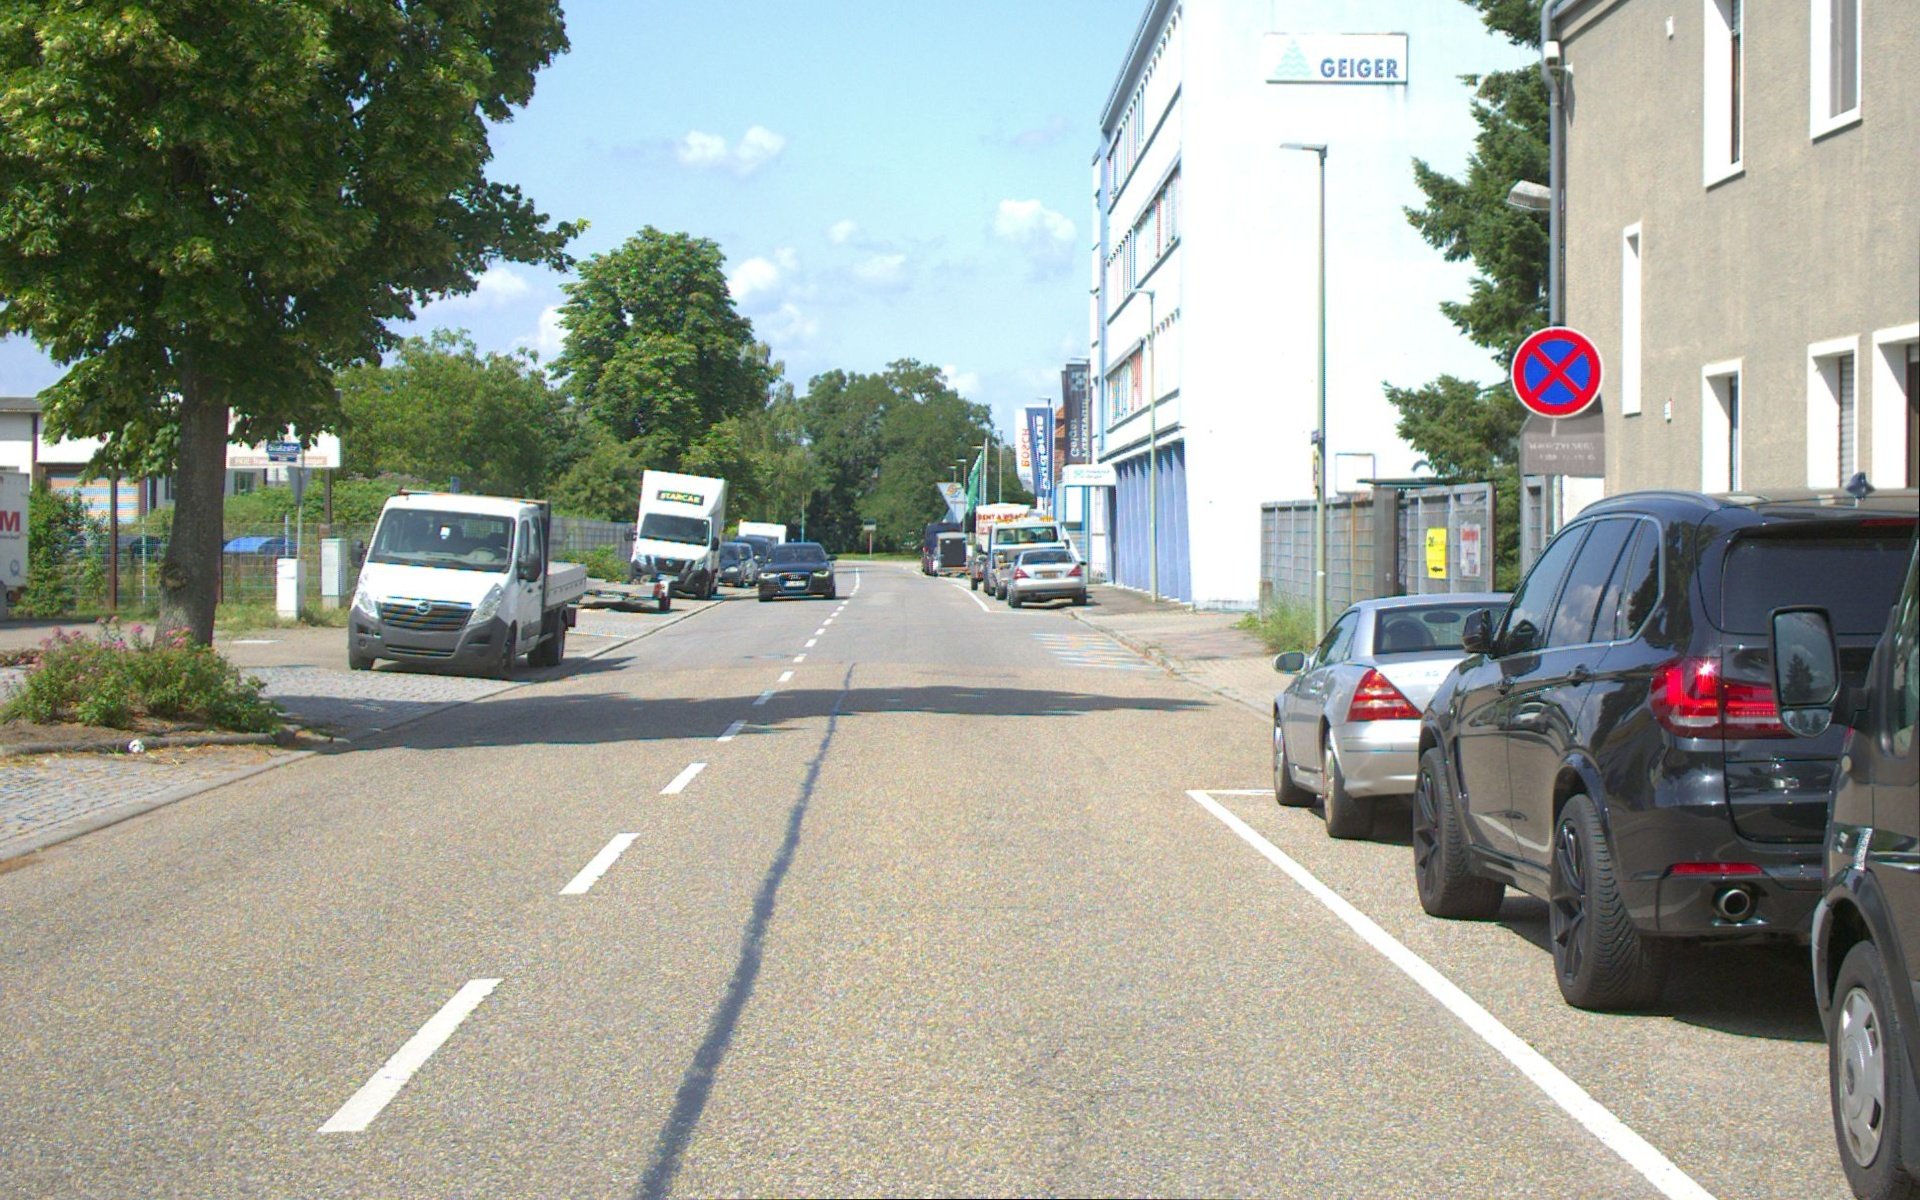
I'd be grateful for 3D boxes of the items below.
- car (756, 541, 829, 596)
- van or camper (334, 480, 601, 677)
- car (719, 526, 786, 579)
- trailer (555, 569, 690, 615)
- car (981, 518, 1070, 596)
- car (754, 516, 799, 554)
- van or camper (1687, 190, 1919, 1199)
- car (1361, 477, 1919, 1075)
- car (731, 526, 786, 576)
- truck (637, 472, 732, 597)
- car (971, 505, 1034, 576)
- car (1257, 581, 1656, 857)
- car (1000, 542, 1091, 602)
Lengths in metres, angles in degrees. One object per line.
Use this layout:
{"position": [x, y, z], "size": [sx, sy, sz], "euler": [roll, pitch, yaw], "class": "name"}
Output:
{"position": [-4.180, -0.810, 86.354], "size": [1.654, 1.320, 4.417], "euler": [0, 1, -1], "class": "car"}
{"position": [-6.421, -0.347, 45.867], "size": [2.174, 2.405, 7.697], "euler": [0, 1, 2], "class": "van or camper"}
{"position": [-6.786, -1.569, 112.765], "size": [1.993, 1.678, 4.000], "euler": [0, 1, -1], "class": "car"}
{"position": [-7.332, -0.199, 75.292], "size": [2.417, 0.811, 5.537], "euler": [2, 1, 0], "class": "trailer"}
{"position": [1.729, -1.177, 92.085], "size": [2.216, 2.007, 5.485], "euler": [0, 1, -1], "class": "car"}
{"position": [-8.984, -3.195, 168.618], "size": [1.993, 1.809, 4.000], "euler": [0, 1, -1], "class": "car"}
{"position": [3.000, 0.321, 6.407], "size": [1.993, 2.283, 5.448], "euler": [2, 1, -1], "class": "van or camper"}
{"position": [2.879, 0.496, 12.818], "size": [1.960, 1.774, 4.955], "euler": [1, 1, -2], "class": "car"}
{"position": [-6.861, -1.687, 117.250], "size": [1.713, 1.645, 4.000], "euler": [0, 1, -1], "class": "car"}
{"position": [-7.183, -1.731, 90.096], "size": [2.029, 3.143, 6.500], "euler": [0, 1, -1], "class": "truck"}
{"position": [1.246, -1.791, 102.497], "size": [1.707, 2.082, 4.000], "euler": [0, 1, -1], "class": "car"}
{"position": [2.699, 0.597, 19.472], "size": [1.629, 1.349, 3.924], "euler": [0, 1, -1], "class": "car"}
{"position": [1.919, -0.654, 78.220], "size": [1.928, 1.306, 4.000], "euler": [0, 1, -1], "class": "car"}
